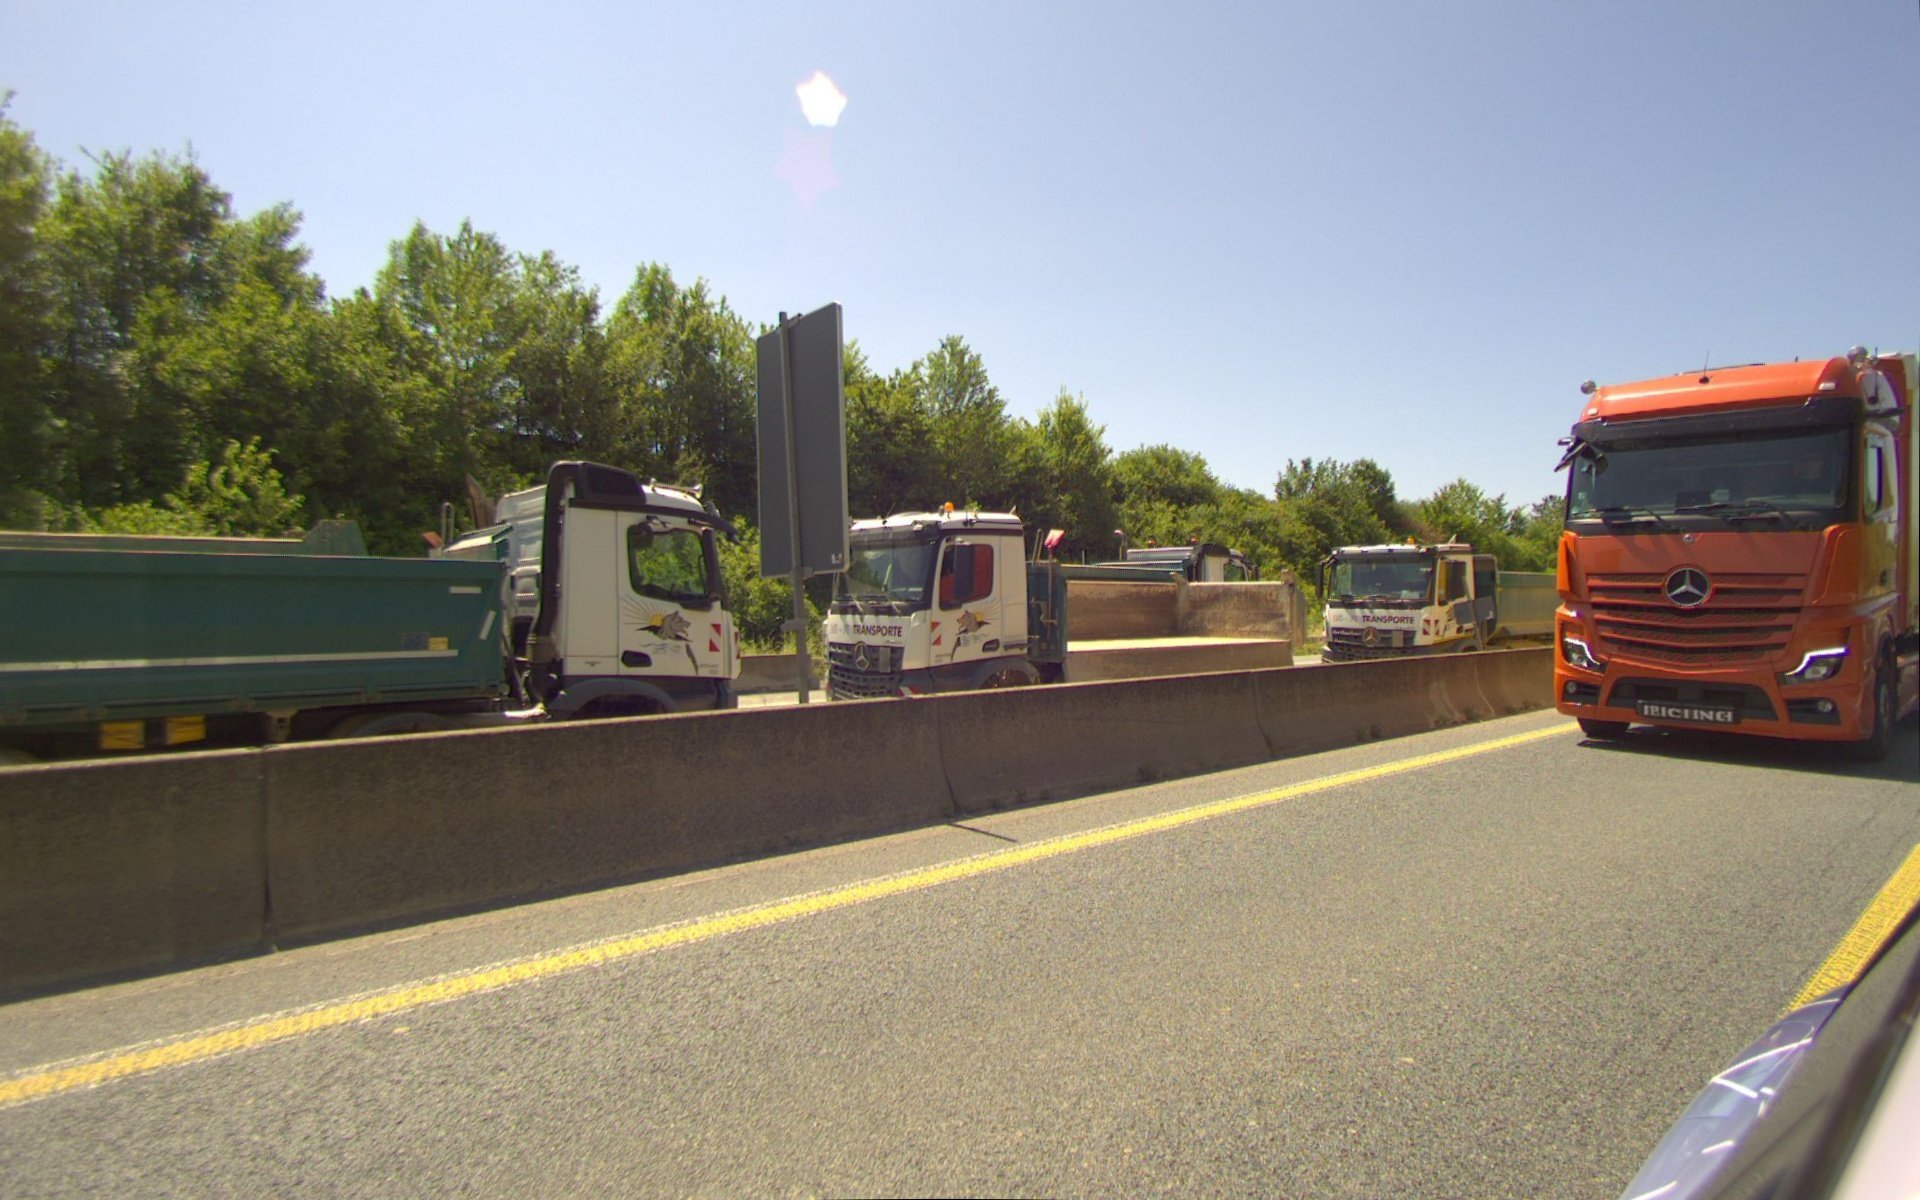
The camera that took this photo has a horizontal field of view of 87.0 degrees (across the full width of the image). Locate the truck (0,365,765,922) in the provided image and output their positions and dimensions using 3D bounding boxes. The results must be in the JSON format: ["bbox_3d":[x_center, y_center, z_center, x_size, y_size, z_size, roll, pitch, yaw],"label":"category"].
[{"bbox_3d":[-6.347,0.275,8.128,9.435,3.602,2.542,0,0,-41],"label":"truck"}]

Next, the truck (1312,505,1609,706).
[{"bbox_3d":[11.099,0.080,21.856,8.938,3.555,2.537,0,0,-41],"label":"truck"}]

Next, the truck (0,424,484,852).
[{"bbox_3d":[-9.614,0.319,8.953,9.435,3.602,2.691,0,0,-41],"label":"truck"}]

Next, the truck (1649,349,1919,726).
[{"bbox_3d":[14.566,-0.743,16.006,12.986,4.061,2.687,-1,0,-40],"label":"truck"}]

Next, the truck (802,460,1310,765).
[{"bbox_3d":[1.972,0.129,15.691,8.788,3.555,2.537,0,0,-41],"label":"truck"}]

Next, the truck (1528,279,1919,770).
[{"bbox_3d":[9.272,-0.665,11.534,6.606,4.061,2.687,-1,0,-40],"label":"truck"}]

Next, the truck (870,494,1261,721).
[{"bbox_3d":[2.370,0.102,19.631,8.234,3.555,2.691,0,0,-41],"label":"truck"}]
